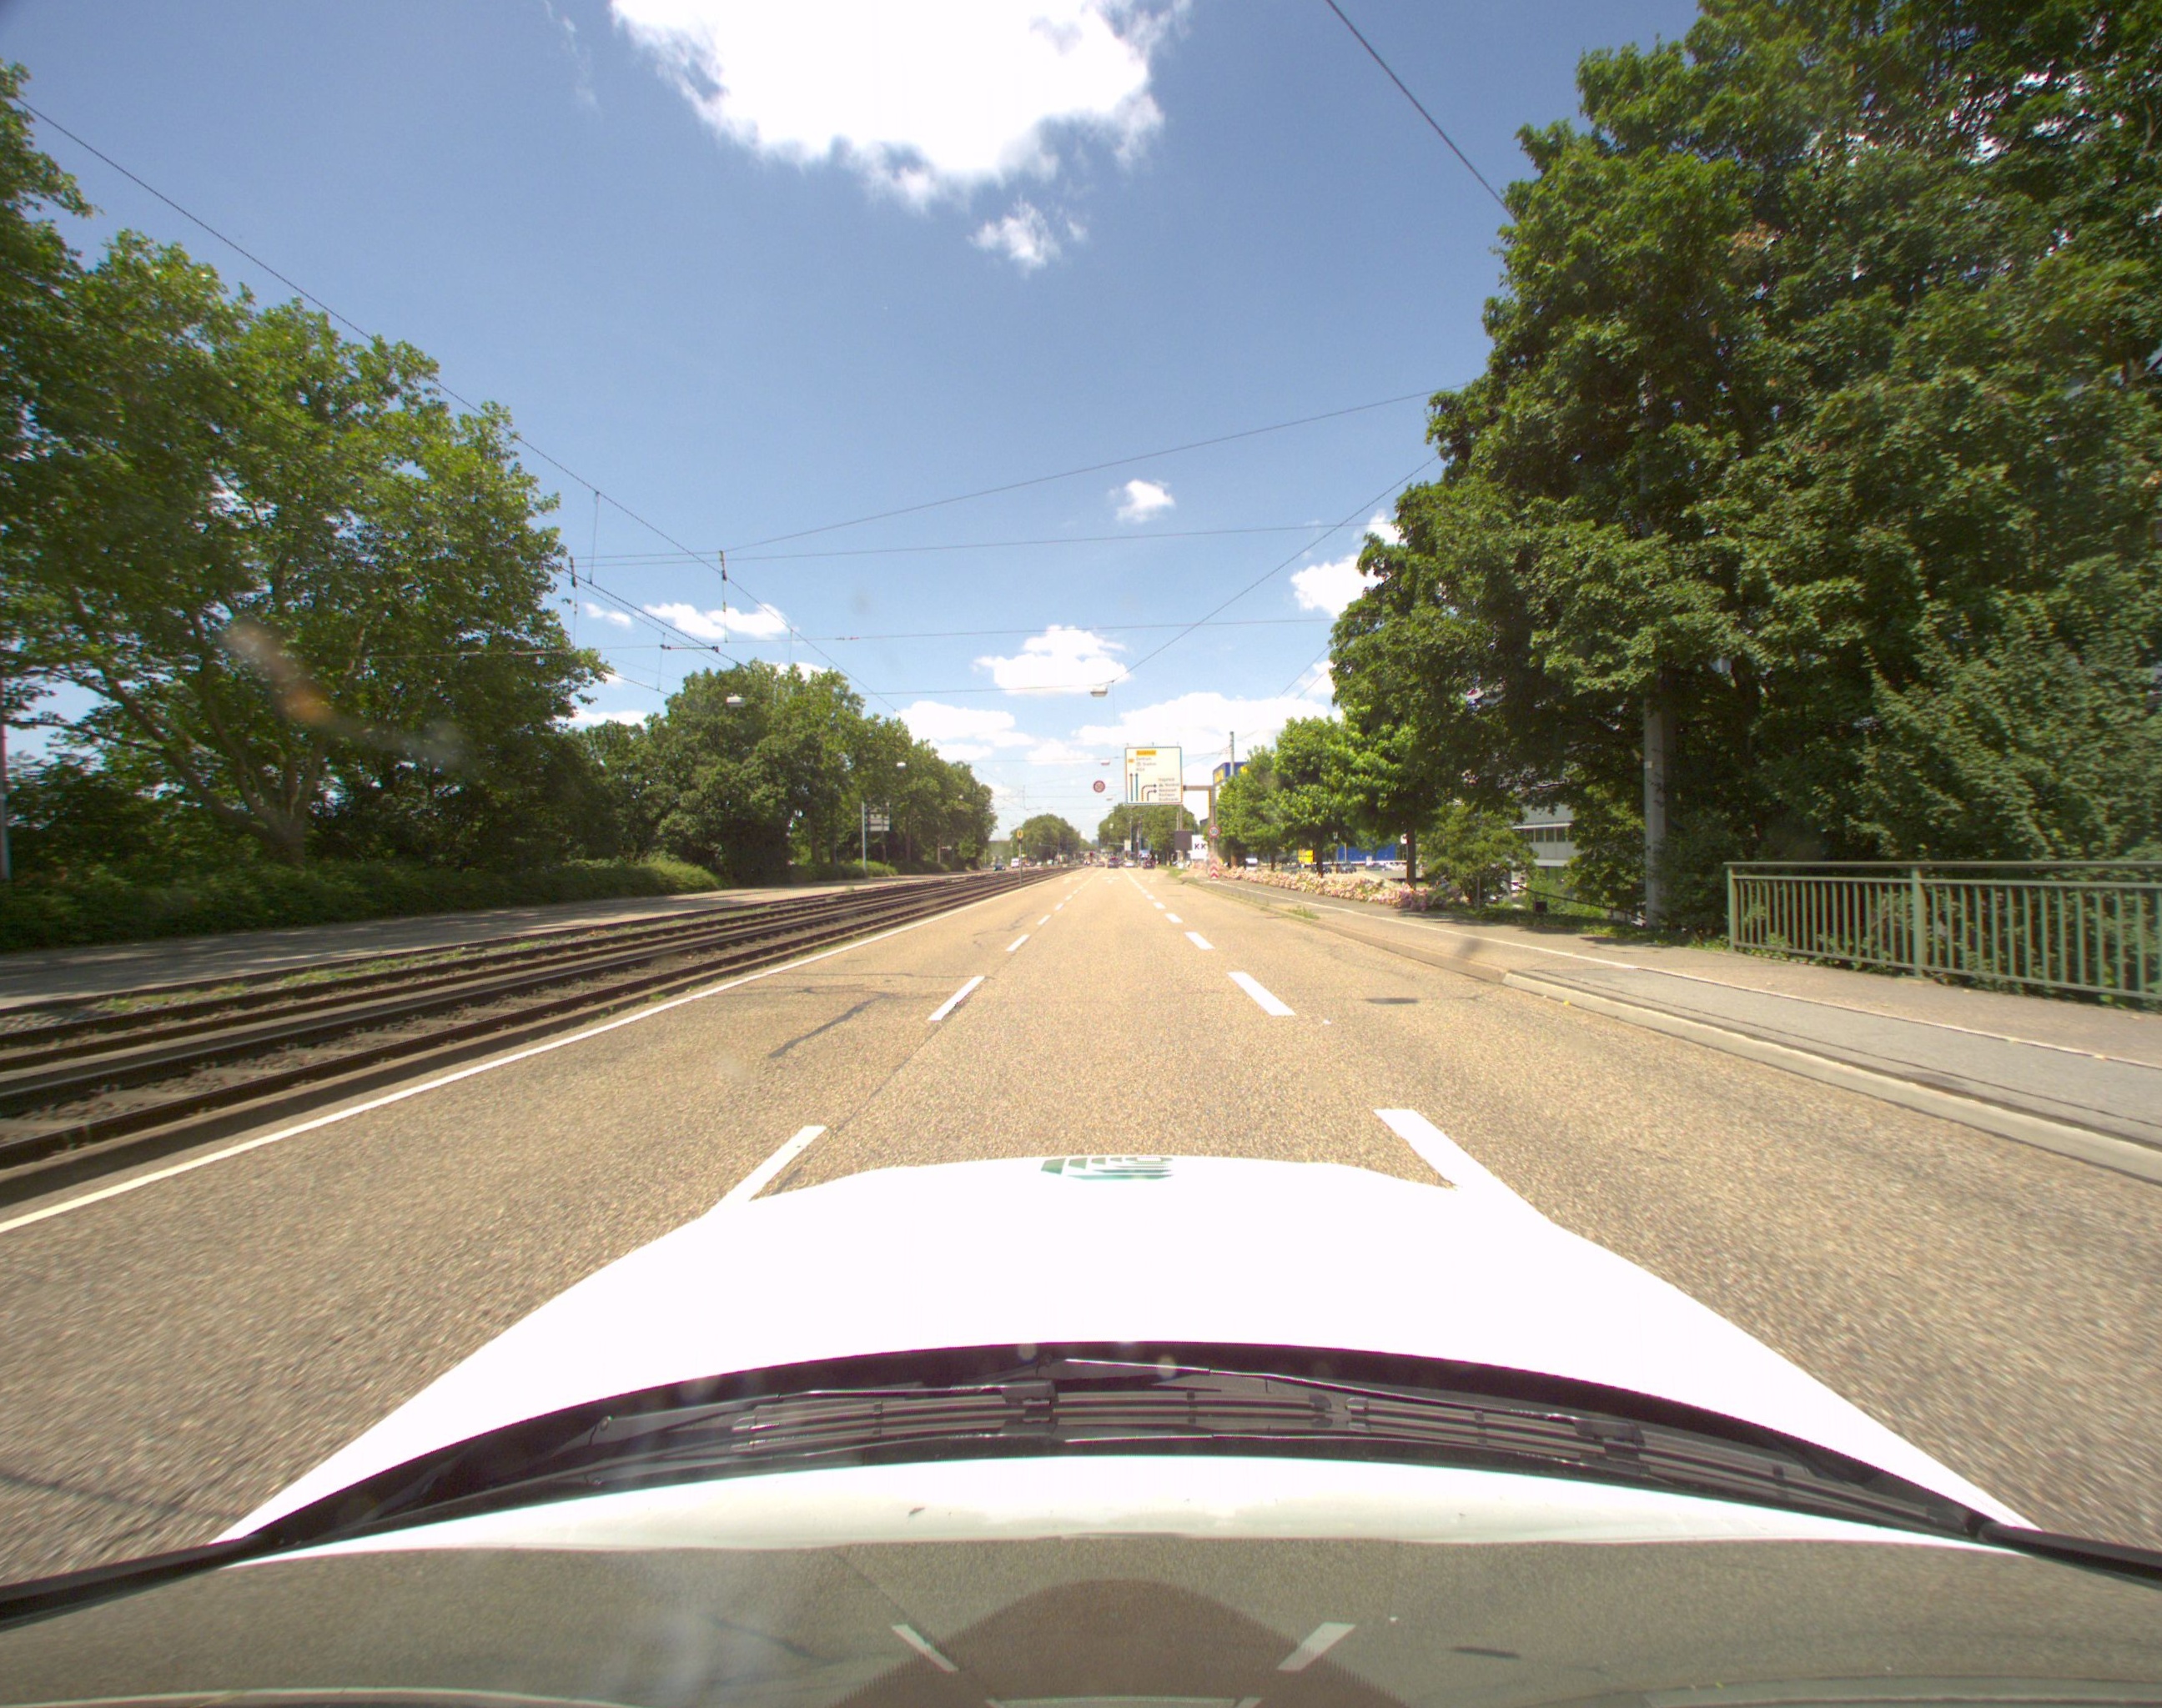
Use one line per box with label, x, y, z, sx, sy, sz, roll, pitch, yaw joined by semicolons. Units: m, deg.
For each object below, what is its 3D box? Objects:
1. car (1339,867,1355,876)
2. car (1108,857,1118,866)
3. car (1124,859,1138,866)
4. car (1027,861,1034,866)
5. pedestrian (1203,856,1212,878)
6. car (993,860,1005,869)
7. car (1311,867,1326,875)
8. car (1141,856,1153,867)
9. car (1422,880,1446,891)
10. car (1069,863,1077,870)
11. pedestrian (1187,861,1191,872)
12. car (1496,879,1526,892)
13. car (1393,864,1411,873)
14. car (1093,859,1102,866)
car;46.602;3.047;142.471;1.566;1.483;3.888;1;-1;0
car;5.772;1.365;147.017;1.869;1.539;3.777;1;-1;1
car;11.025;1.877;178.339;1.670;1.550;4.006;1;-1;24
car;-14.474;2.748;234.482;1.617;1.550;3.705;1;-1;2
pedestrian;10.191;1.035;65.499;0.666;1.792;0.925;0;-1;4
car;-14.535;1.777;144.244;1.639;1.550;4.216;0;-1;0
car;42.406;3.055;145.628;1.566;1.483;3.888;1;-1;0
car;11.001;1.203;135.748;1.892;1.805;3.978;1;-1;2
car;48.655;4.320;112.400;1.733;1.483;3.966;1;-1;3
car;-1.941;3.006;197.485;1.836;1.550;3.777;1;-1;1
pedestrian;17.766;2.009;134.381;0.578;1.792;0.590;0;-1;0
car;53.055;3.868;100.580;1.733;1.483;4.242;1;-1;3
car;53.179;2.399;134.958;1.566;1.483;3.888;1;-1;0
car;3.691;1.926;180.188;1.836;1.550;3.776;1;-1;0
